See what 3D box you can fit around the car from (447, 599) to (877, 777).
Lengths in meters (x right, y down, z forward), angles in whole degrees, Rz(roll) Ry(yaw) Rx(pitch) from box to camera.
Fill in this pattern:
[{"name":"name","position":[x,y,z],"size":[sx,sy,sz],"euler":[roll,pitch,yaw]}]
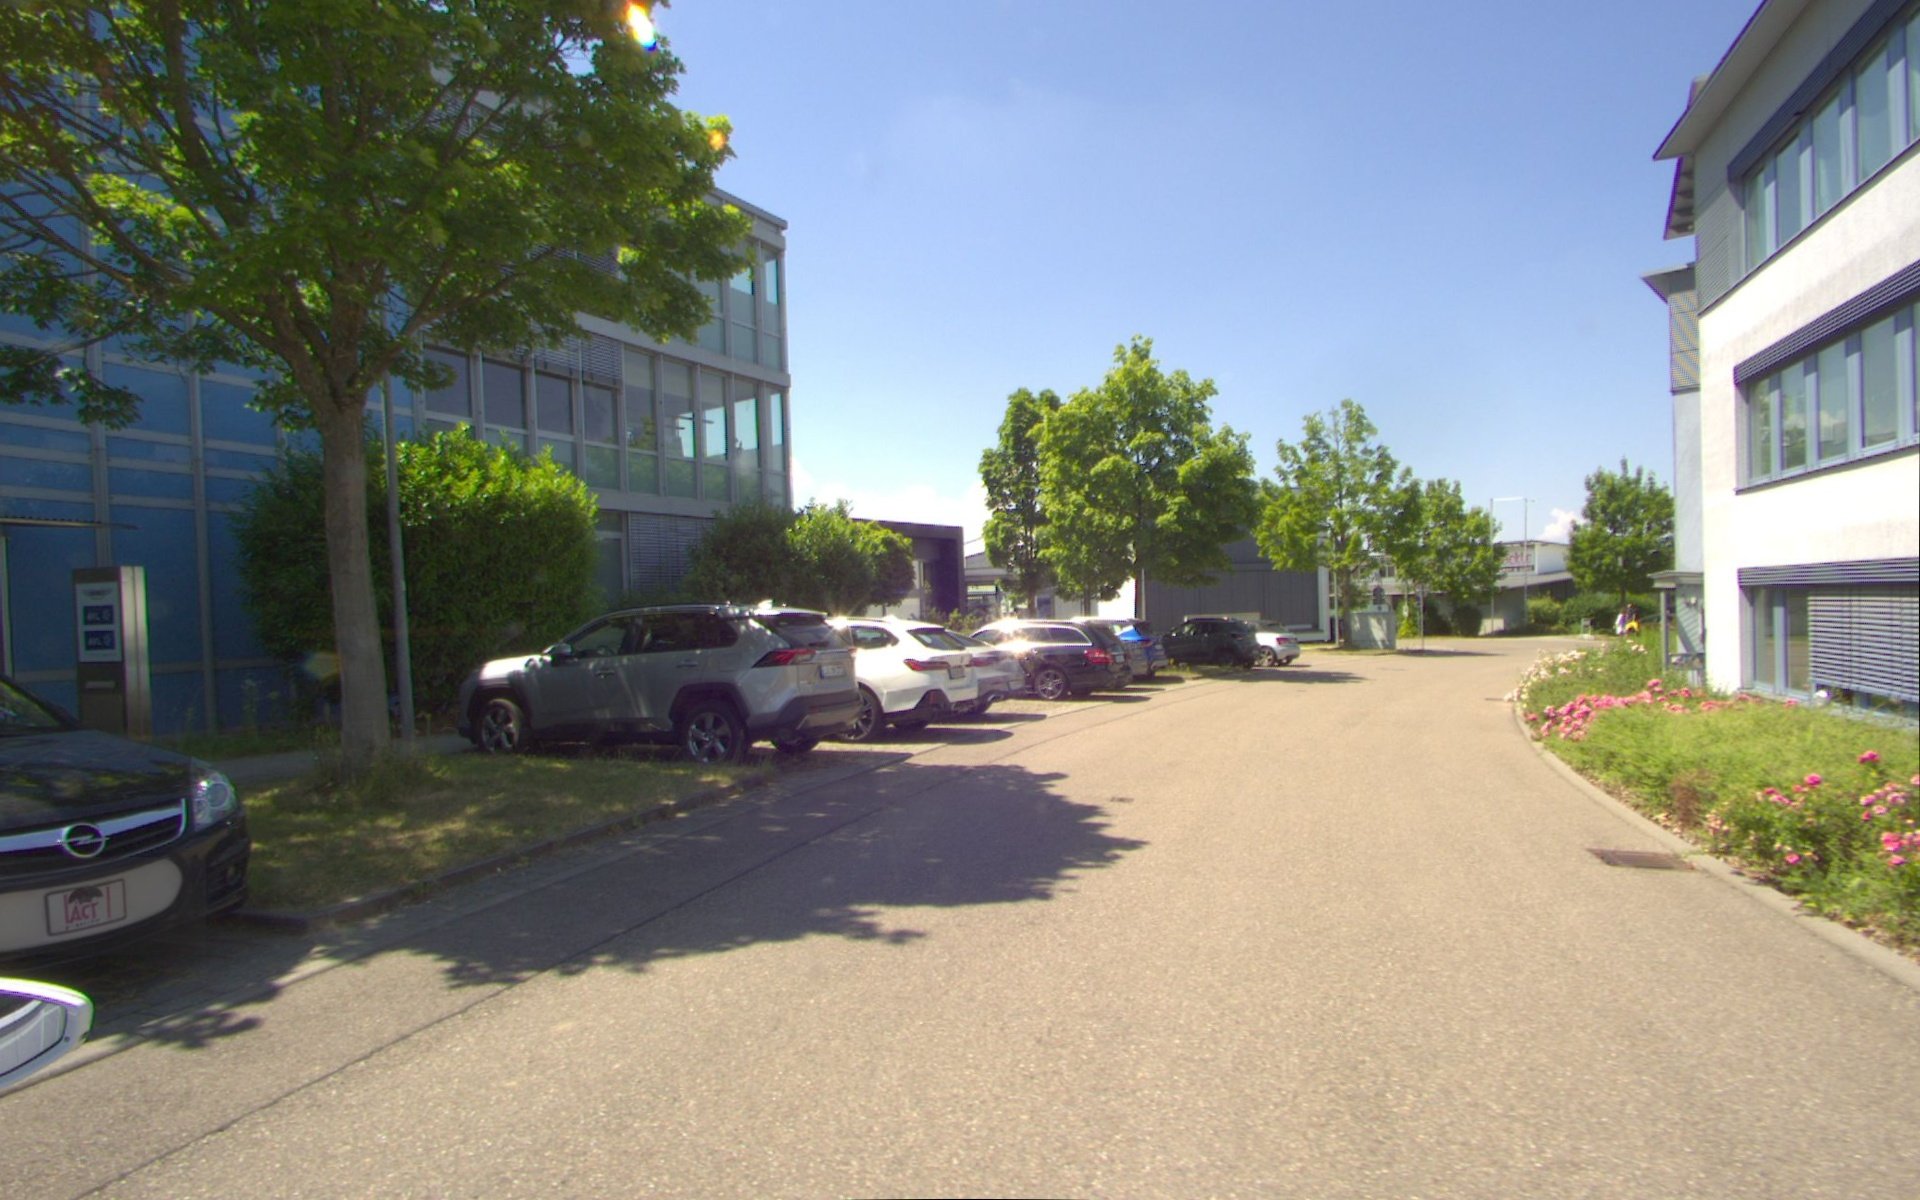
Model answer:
[{"name":"car","position":[-3.226,0.845,10.937],"size":[4.256,1.664,1.854],"euler":[0,-1,20]}]

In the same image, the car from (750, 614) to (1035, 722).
[{"name":"car","position":[-1.041,0.988,15.553],"size":[4.105,1.505,1.658],"euler":[0,-1,20]}]

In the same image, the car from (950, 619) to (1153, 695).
[{"name":"car","position":[1.996,1.183,21.741],"size":[4.106,1.505,1.657],"euler":[0,-1,21]}]

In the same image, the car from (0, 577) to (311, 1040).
[{"name":"car","position":[-5.311,0.762,4.346],"size":[4.484,1.569,1.761],"euler":[-1,-1,18]}]

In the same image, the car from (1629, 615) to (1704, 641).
[{"name":"car","position":[40.612,1.626,57.610],"size":[1.562,1.461,3.210],"euler":[0,-2,-18]}]

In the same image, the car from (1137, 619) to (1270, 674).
[{"name":"car","position":[7.233,1.339,29.861],"size":[3.545,1.545,1.624],"euler":[-1,-1,38]}]

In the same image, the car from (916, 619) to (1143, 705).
[{"name":"car","position":[1.323,1.143,19.514],"size":[4.112,1.505,1.654],"euler":[0,-1,28]}]

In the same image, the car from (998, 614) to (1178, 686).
[{"name":"car","position":[3.109,1.173,24.611],"size":[4.120,1.626,1.651],"euler":[0,-1,34]}]

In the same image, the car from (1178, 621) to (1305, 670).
[{"name":"car","position":[8.855,1.387,31.583],"size":[3.545,1.462,1.624],"euler":[-1,-1,38]}]

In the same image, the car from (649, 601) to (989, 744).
[{"name":"car","position":[-1.840,0.869,13.138],"size":[4.129,1.664,1.658],"euler":[0,-1,20]}]
